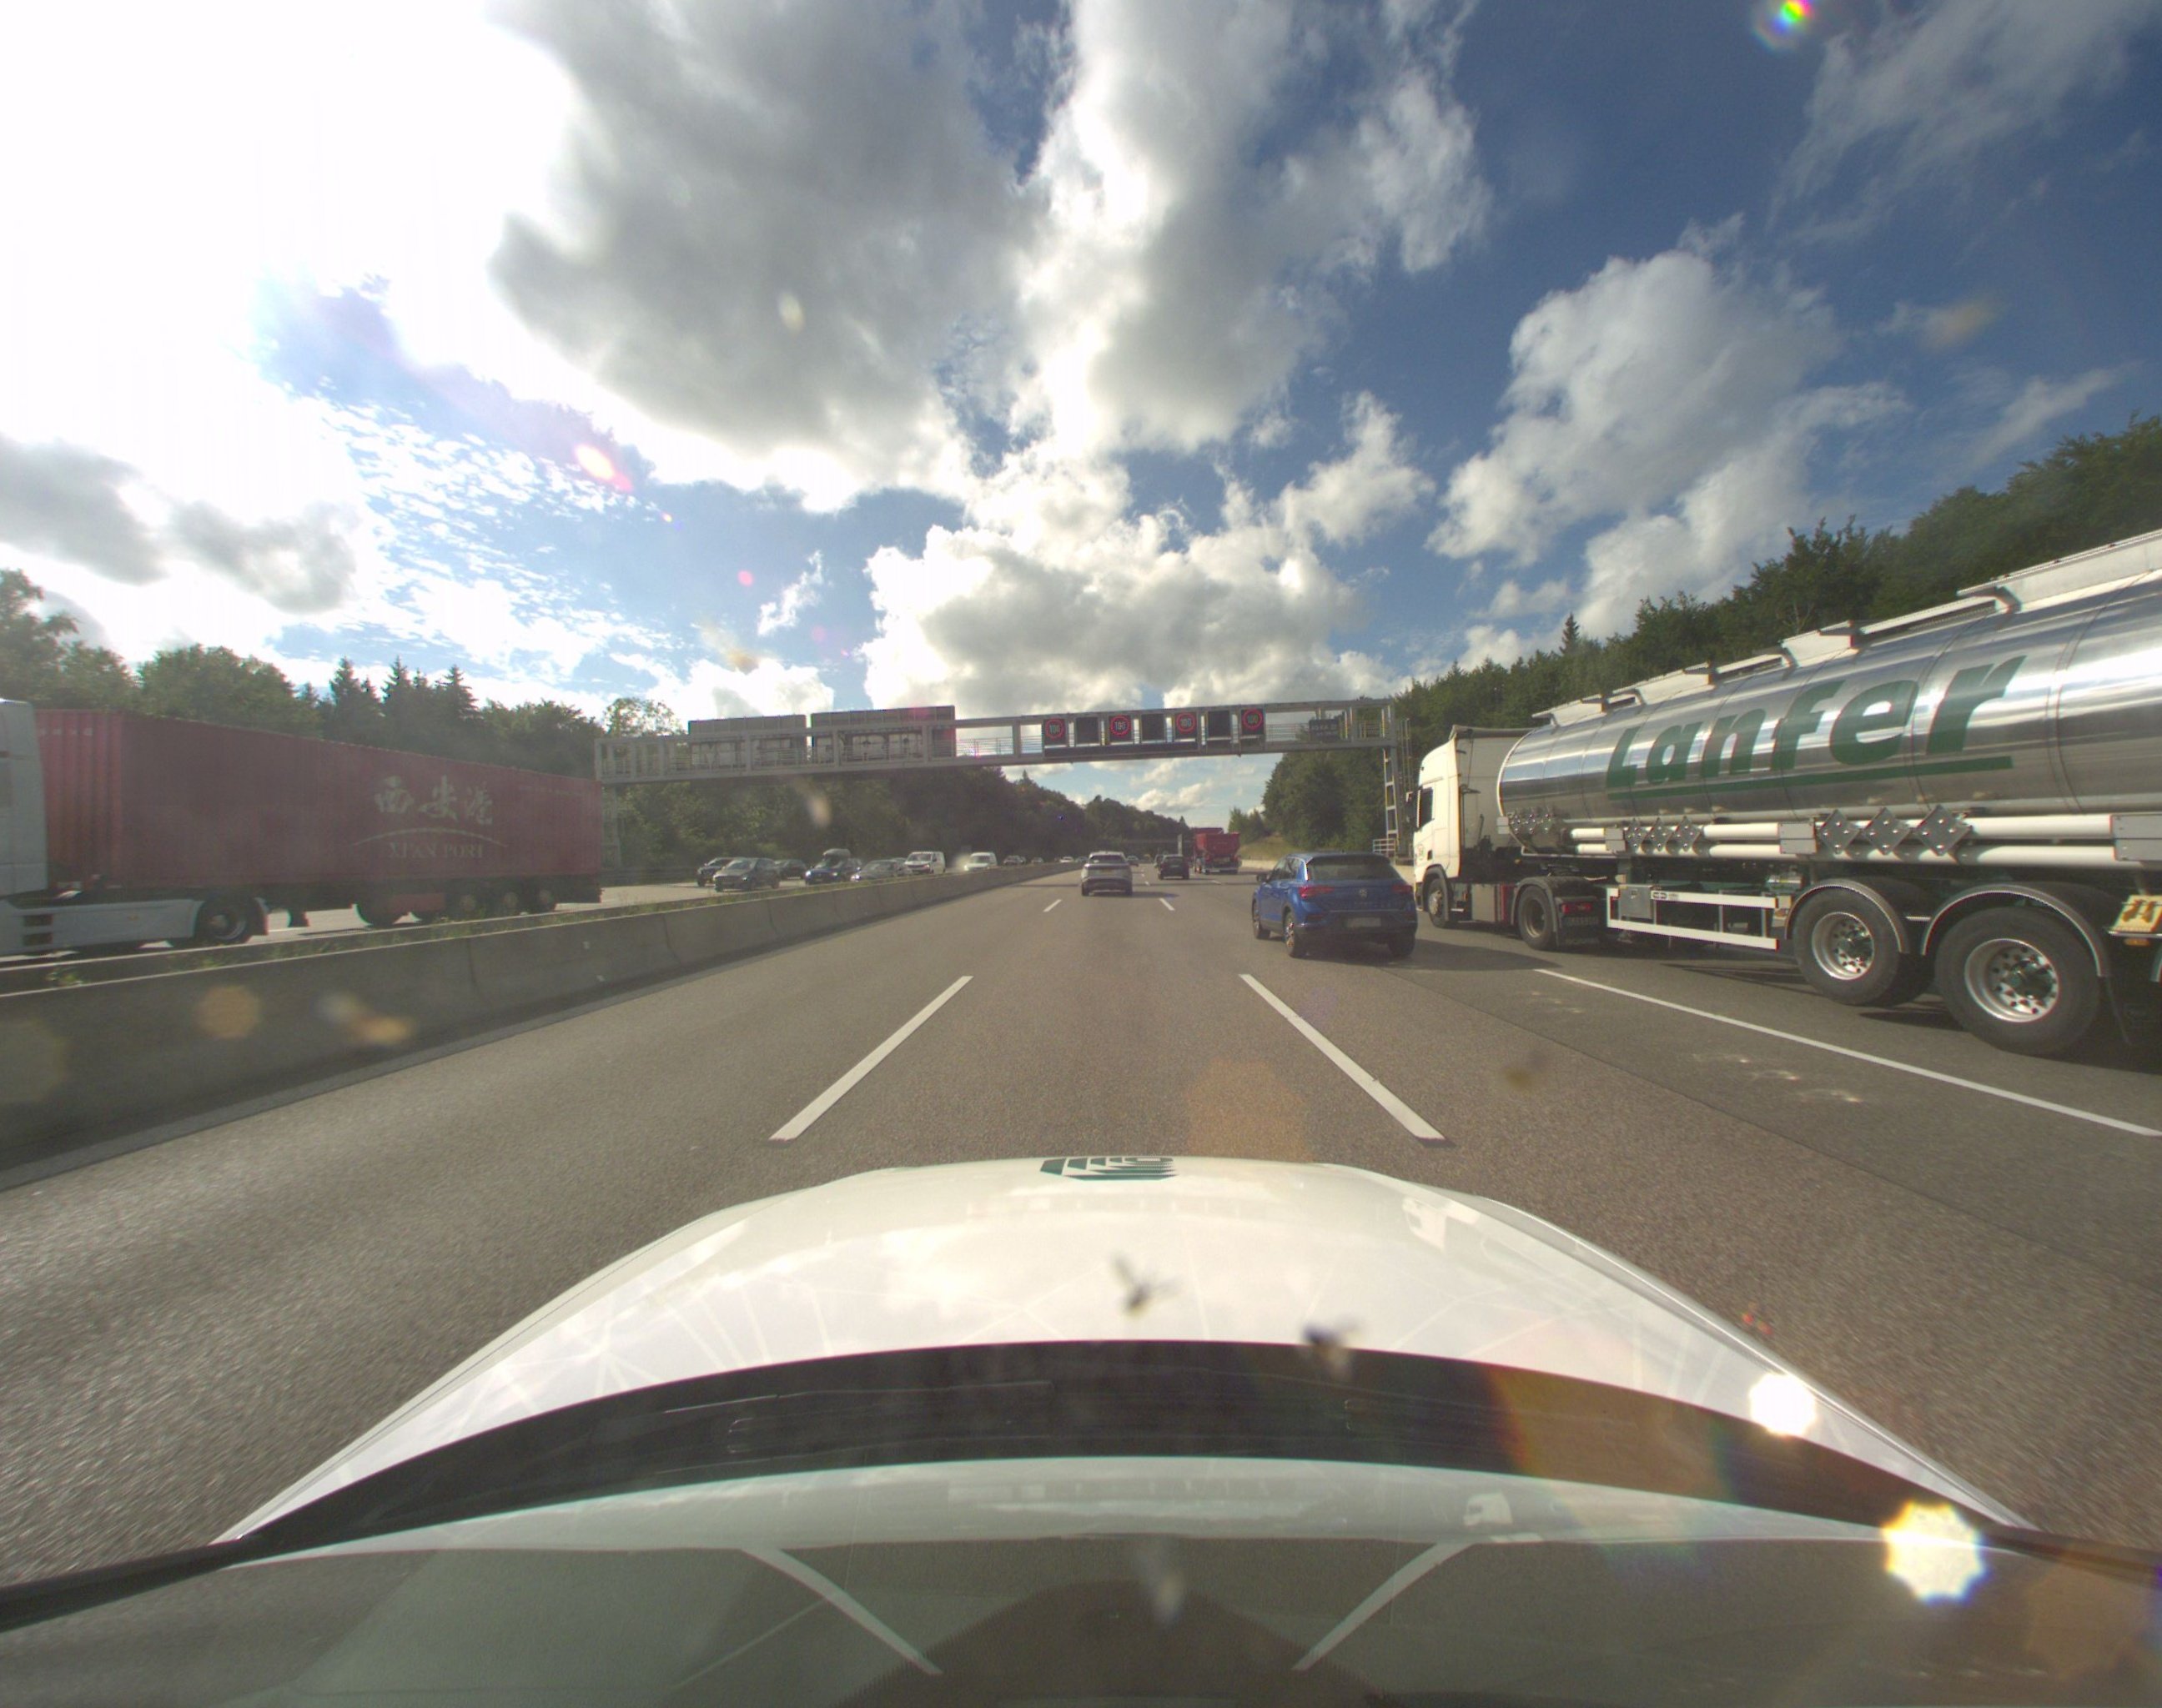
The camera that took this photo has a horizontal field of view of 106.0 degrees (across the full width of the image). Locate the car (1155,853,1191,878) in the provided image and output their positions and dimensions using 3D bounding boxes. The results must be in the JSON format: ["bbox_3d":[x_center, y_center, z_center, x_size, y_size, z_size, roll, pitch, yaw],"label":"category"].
[{"bbox_3d":[5.628,0.691,50.154,1.816,1.457,4.000,0,0,1],"label":"car"}]

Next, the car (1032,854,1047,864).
[{"bbox_3d":[-7.180,0.902,141.023,1.918,1.716,4.430,-1,0,6],"label":"car"}]

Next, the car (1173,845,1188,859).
[{"bbox_3d":[13.954,-0.271,114.028,1.885,1.857,4.104,0,0,4],"label":"car"}]

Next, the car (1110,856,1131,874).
[{"bbox_3d":[3.499,0.916,71.532,1.814,1.546,4.004,0,0,4],"label":"car"}]

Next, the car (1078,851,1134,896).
[{"bbox_3d":[1.071,0.702,32.350,1.997,1.616,5.307,-1,0,4],"label":"car"}]

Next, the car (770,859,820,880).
[{"bbox_3d":[-20.307,1.068,57.992,1.694,1.440,4.710,-1,0,3],"label":"car"}]

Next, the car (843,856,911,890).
[{"bbox_3d":[-8.897,0.784,35.933,1.787,1.375,4.550,0,0,1],"label":"car"}]

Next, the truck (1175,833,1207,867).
[{"bbox_3d":[13.554,-0.489,101.093,3.106,3.935,10.418,0,0,3],"label":"truck"}]

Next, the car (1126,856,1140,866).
[{"bbox_3d":[7.356,1.011,115.732,1.813,1.457,4.006,-1,-1,5],"label":"car"}]

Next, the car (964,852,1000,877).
[{"bbox_3d":[-6.730,0.716,55.787,1.762,1.649,4.522,0,0,3],"label":"car"}]

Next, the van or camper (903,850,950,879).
[{"bbox_3d":[-10.472,0.705,55.623,1.853,1.850,5.162,-1,0,5],"label":"van or camper"}]

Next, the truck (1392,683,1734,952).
[{"bbox_3d":[8.142,-0.527,14.845,2.639,3.823,6.083,-2,0,1],"label":"truck"}]

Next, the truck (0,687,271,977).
[{"bbox_3d":[-16.663,-0.302,12.430,2.729,4.106,5.766,-1,0,1],"label":"truck"}]

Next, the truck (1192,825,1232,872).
[{"bbox_3d":[10.763,-0.449,67.487,2.698,3.718,5.823,-1,0,3],"label":"truck"}]

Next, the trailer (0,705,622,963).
[{"bbox_3d":[-16.463,-0.310,19.761,2.729,4.106,13.420,-1,0,2],"label":"trailer"}]

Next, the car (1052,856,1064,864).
[{"bbox_3d":[-5.068,1.398,179.757,1.916,1.716,4.435,-1,0,10],"label":"car"}]

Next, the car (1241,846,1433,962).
[{"bbox_3d":[3.880,0.717,13.186,1.767,1.530,4.458,-1,-1,1],"label":"car"}]

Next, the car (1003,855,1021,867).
[{"bbox_3d":[-9.644,0.968,113.771,1.658,1.640,4.486,0,0,5],"label":"car"}]

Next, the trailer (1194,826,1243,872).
[{"bbox_3d":[10.444,-0.346,62.804,2.698,3.231,9.742,-1,0,4],"label":"trailer"}]

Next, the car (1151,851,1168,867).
[{"bbox_3d":[9.361,0.572,97.758,1.885,1.857,4.104,0,0,3],"label":"car"}]

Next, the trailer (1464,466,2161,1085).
[{"bbox_3d":[7.981,-0.503,8.400,2.639,3.767,11.862,-2,0,1],"label":"trailer"}]

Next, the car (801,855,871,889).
[{"bbox_3d":[-11.771,0.819,39.446,1.691,1.528,4.689,0,0,3],"label":"car"}]

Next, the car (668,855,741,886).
[{"bbox_3d":[-20.476,0.848,44.517,1.808,1.613,4.151,0,0,4],"label":"car"}]

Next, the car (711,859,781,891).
[{"bbox_3d":[-16.078,0.988,39.315,1.631,1.416,4.002,-1,0,2],"label":"car"}]

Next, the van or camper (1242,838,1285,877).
[{"bbox_3d":[11.240,0.210,50.477,1.815,2.307,4.942,-1,0,3],"label":"van or camper"}]
